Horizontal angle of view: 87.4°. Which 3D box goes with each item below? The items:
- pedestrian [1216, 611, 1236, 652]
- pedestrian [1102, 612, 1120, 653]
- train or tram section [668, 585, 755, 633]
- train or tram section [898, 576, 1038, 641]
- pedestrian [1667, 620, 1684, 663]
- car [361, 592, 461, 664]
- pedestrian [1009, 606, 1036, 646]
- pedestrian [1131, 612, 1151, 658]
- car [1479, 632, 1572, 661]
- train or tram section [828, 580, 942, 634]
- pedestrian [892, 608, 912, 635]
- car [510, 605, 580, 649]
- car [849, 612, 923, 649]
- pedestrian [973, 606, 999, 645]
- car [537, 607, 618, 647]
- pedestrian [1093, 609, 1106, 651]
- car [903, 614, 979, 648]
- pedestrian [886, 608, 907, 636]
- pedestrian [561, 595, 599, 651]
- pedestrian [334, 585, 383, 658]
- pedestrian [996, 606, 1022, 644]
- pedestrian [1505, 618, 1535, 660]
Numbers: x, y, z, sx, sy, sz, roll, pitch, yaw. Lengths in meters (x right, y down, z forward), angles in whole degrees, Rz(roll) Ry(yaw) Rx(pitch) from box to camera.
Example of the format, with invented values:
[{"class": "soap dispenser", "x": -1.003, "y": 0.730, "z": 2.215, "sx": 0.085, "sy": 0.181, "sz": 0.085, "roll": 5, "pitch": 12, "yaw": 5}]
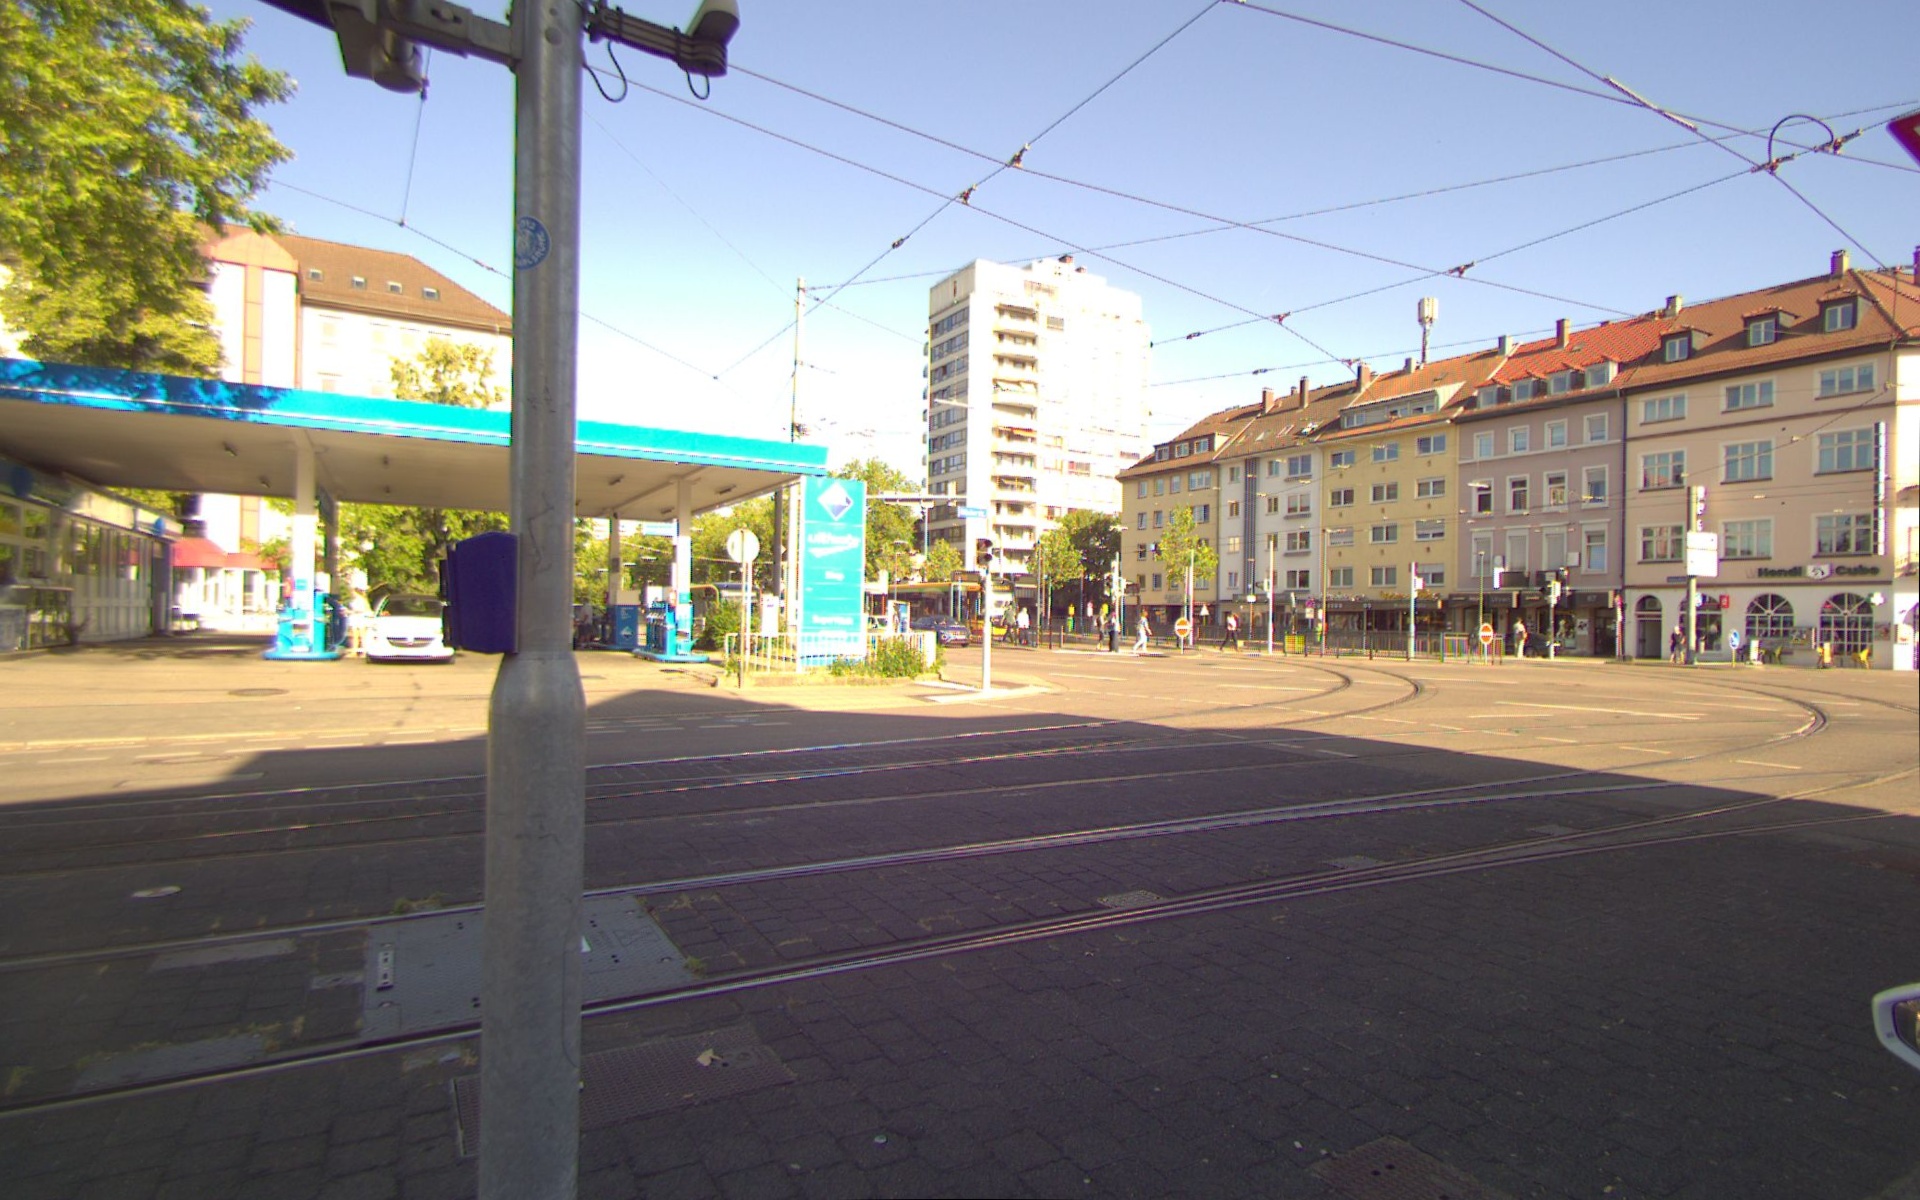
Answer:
[{"class": "pedestrian", "x": 11.326, "y": 1.345, "z": 42.795, "sx": 0.684, "sy": 1.721, "sz": 0.782, "roll": 1, "pitch": -1, "yaw": 8}, {"class": "pedestrian", "x": 6.169, "y": 1.327, "z": 40.957, "sx": 0.698, "sy": 1.646, "sz": 0.800, "roll": 1, "pitch": -1, "yaw": 10}, {"class": "train or tram section", "x": -15.031, "y": 0.447, "z": 60.040, "sx": 2.233, "sy": 2.627, "sz": 10.398, "roll": 2, "pitch": 0, "yaw": -30}, {"class": "train or tram section", "x": 0.230, "y": 0.514, "z": 58.964, "sx": 3.252, "sy": 3.459, "sz": 10.157, "roll": 1, "pitch": -1, "yaw": -33}, {"class": "pedestrian", "x": 34.209, "y": 1.984, "z": 48.019, "sx": 0.498, "sy": 2.040, "sz": 0.507, "roll": 1, "pitch": -1, "yaw": -27}, {"class": "car", "x": -12.274, "y": 0.606, "z": 22.434, "sx": 1.773, "sy": 1.461, "sz": 3.968, "roll": 2, "pitch": -1, "yaw": -30}, {"class": "pedestrian", "x": 2.938, "y": 1.225, "z": 46.920, "sx": 0.902, "sy": 1.826, "sz": 0.887, "roll": 1, "pitch": -1, "yaw": -33}, {"class": "pedestrian", "x": 6.990, "y": 1.349, "z": 38.867, "sx": 0.731, "sy": 1.721, "sz": 0.556, "roll": 1, "pitch": -1, "yaw": 8}, {"class": "car", "x": 30.774, "y": 2.496, "z": 54.714, "sx": 1.980, "sy": 1.483, "sz": 3.962, "roll": 1, "pitch": -1, "yaw": -34}, {"class": "train or tram section", "x": -5.251, "y": 0.516, "z": 67.582, "sx": 3.252, "sy": 3.335, "sz": 10.157, "roll": 1, "pitch": -1, "yaw": -33}, {"class": "pedestrian", "x": -3.518, "y": 1.297, "z": 61.106, "sx": 0.902, "sy": 1.646, "sz": 0.887, "roll": 1, "pitch": -1, "yaw": -33}, {"class": "car", "x": -13.504, "y": 0.863, "z": 32.578, "sx": 1.752, "sy": 1.332, "sz": 3.520, "roll": 1, "pitch": -1, "yaw": -28}, {"class": "car", "x": -3.508, "y": 1.391, "z": 46.806, "sx": 1.976, "sy": 1.615, "sz": 3.970, "roll": 1, "pitch": -1, "yaw": -29}, {"class": "pedestrian", "x": 1.271, "y": 1.222, "z": 48.426, "sx": 0.902, "sy": 1.826, "sz": 0.887, "roll": 1, "pitch": -1, "yaw": -33}, {"class": "car", "x": -17.205, "y": 1.209, "z": 45.383, "sx": 1.960, "sy": 1.685, "sz": 4.001, "roll": 1, "pitch": -1, "yaw": 2}, {"class": "pedestrian", "x": 5.843, "y": 1.258, "z": 42.105, "sx": 0.486, "sy": 1.721, "sz": 0.558, "roll": 1, "pitch": -1, "yaw": 5}, {"class": "car", "x": -0.960, "y": 1.489, "z": 48.348, "sx": 1.937, "sy": 1.475, "sz": 4.077, "roll": 1, "pitch": 0, "yaw": -30}, {"class": "pedestrian", "x": -3.795, "y": 1.290, "z": 59.849, "sx": 0.902, "sy": 1.646, "sz": 0.887, "roll": 1, "pitch": -1, "yaw": -33}, {"class": "pedestrian", "x": -12.802, "y": 0.774, "z": 33.882, "sx": 0.893, "sy": 1.826, "sz": 0.896, "roll": 1, "pitch": -1, "yaw": 1}, {"class": "pedestrian", "x": -13.903, "y": 0.504, "z": 23.236, "sx": 0.638, "sy": 1.652, "sz": 0.808, "roll": 0, "pitch": -1, "yaw": 43}, {"class": "pedestrian", "x": 2.359, "y": 1.201, "z": 48.346, "sx": 0.902, "sy": 1.826, "sz": 0.887, "roll": 1, "pitch": -1, "yaw": -33}, {"class": "pedestrian", "x": 24.494, "y": 1.695, "z": 43.954, "sx": 0.801, "sy": 1.842, "sz": 0.871, "roll": 1, "pitch": -1, "yaw": -29}]
